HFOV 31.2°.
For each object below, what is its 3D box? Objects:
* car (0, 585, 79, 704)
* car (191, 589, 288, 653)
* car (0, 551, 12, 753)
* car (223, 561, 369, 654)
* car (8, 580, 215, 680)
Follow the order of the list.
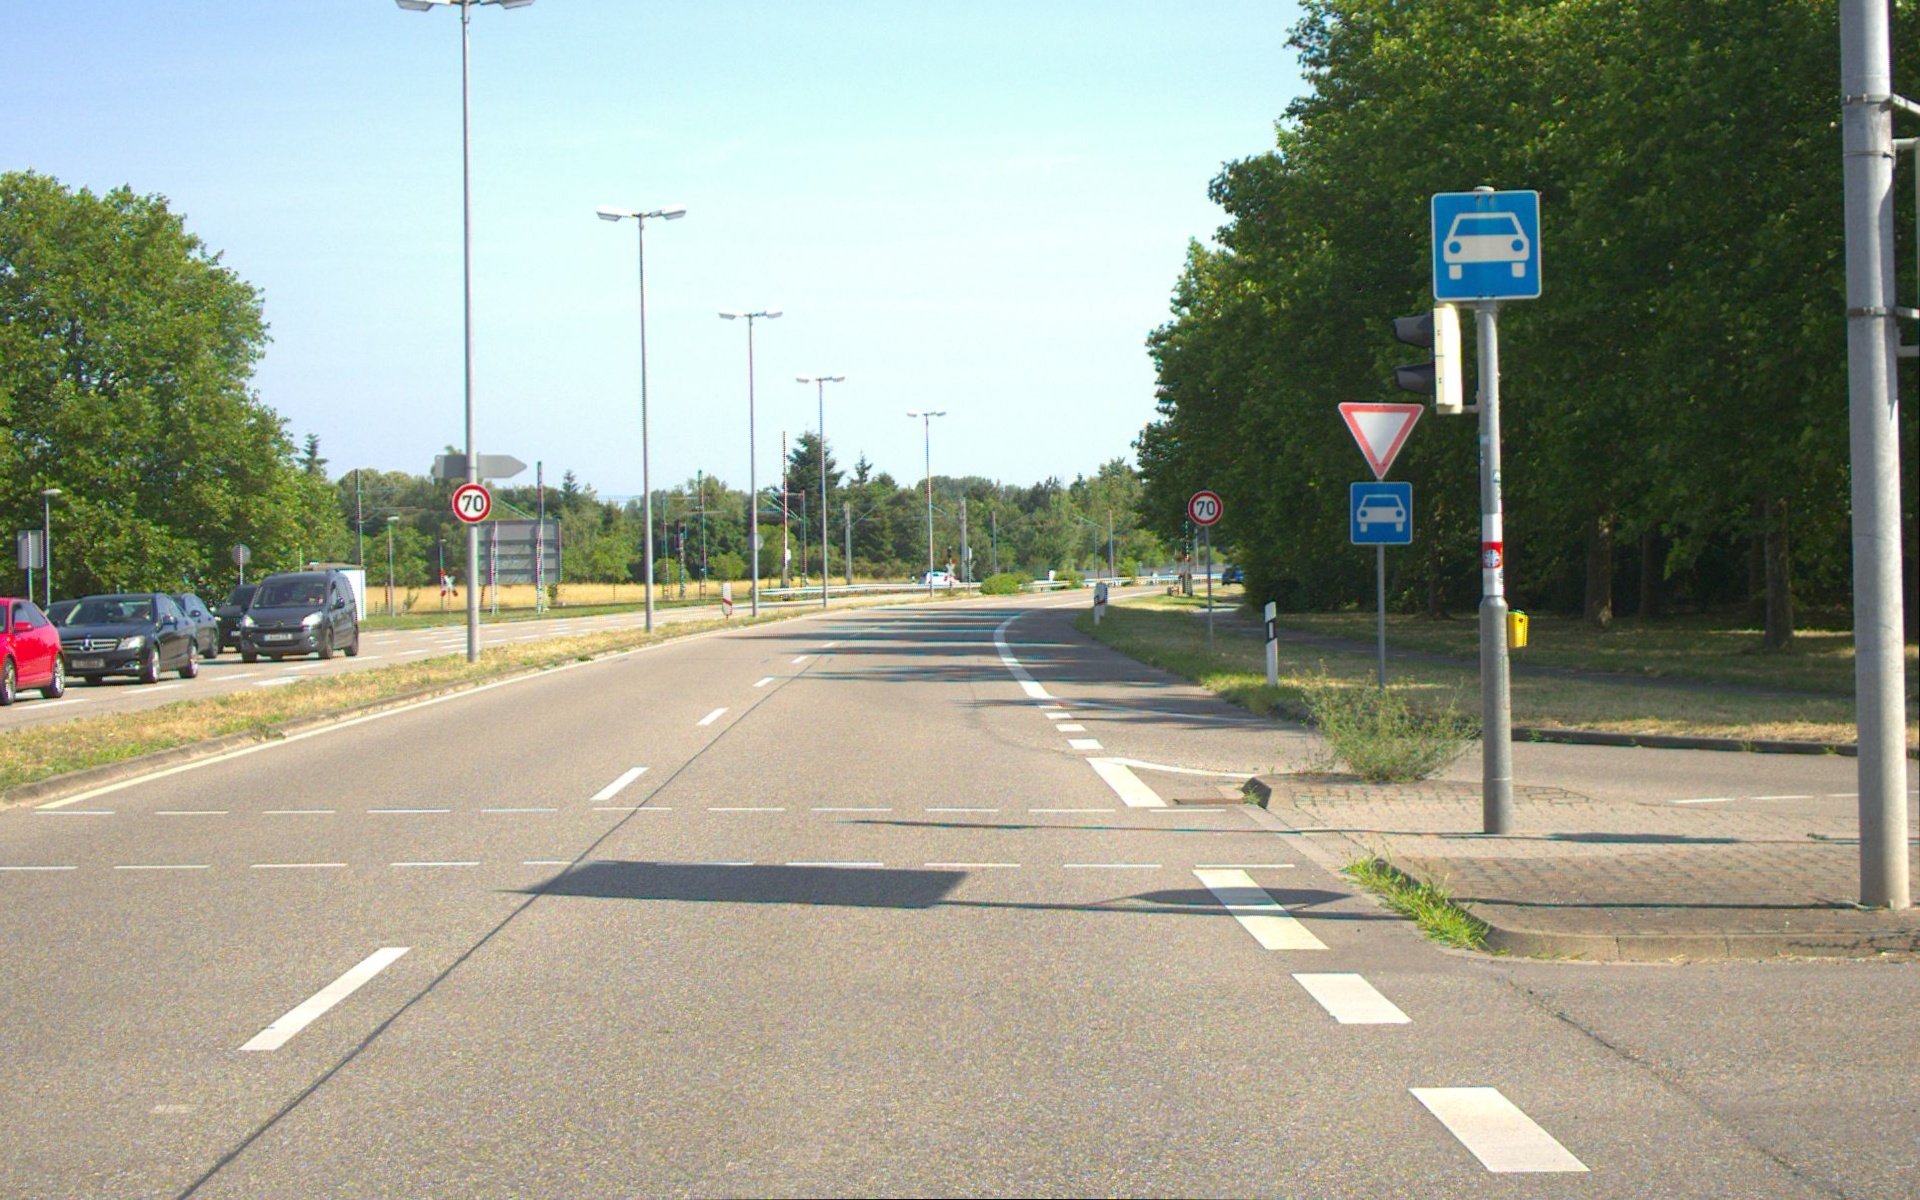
[{"bbox_3d":[-12.966,0.564,44.951,1.815,1.479,4.000,-1,0,0],"label":"car"},{"bbox_3d":[-17.314,0.489,82.772,1.981,1.452,4.230,-1,0,-8],"label":"car"},{"bbox_3d":[-9.348,0.475,27.801,1.981,1.744,4.507,-1,0,2],"label":"car"},{"bbox_3d":[-13.277,0.123,68.985,1.981,1.773,4.490,-1,0,1],"label":"car"},{"bbox_3d":[-13.189,0.437,53.716,1.981,1.452,4.450,-1,0,2],"label":"car"}]
